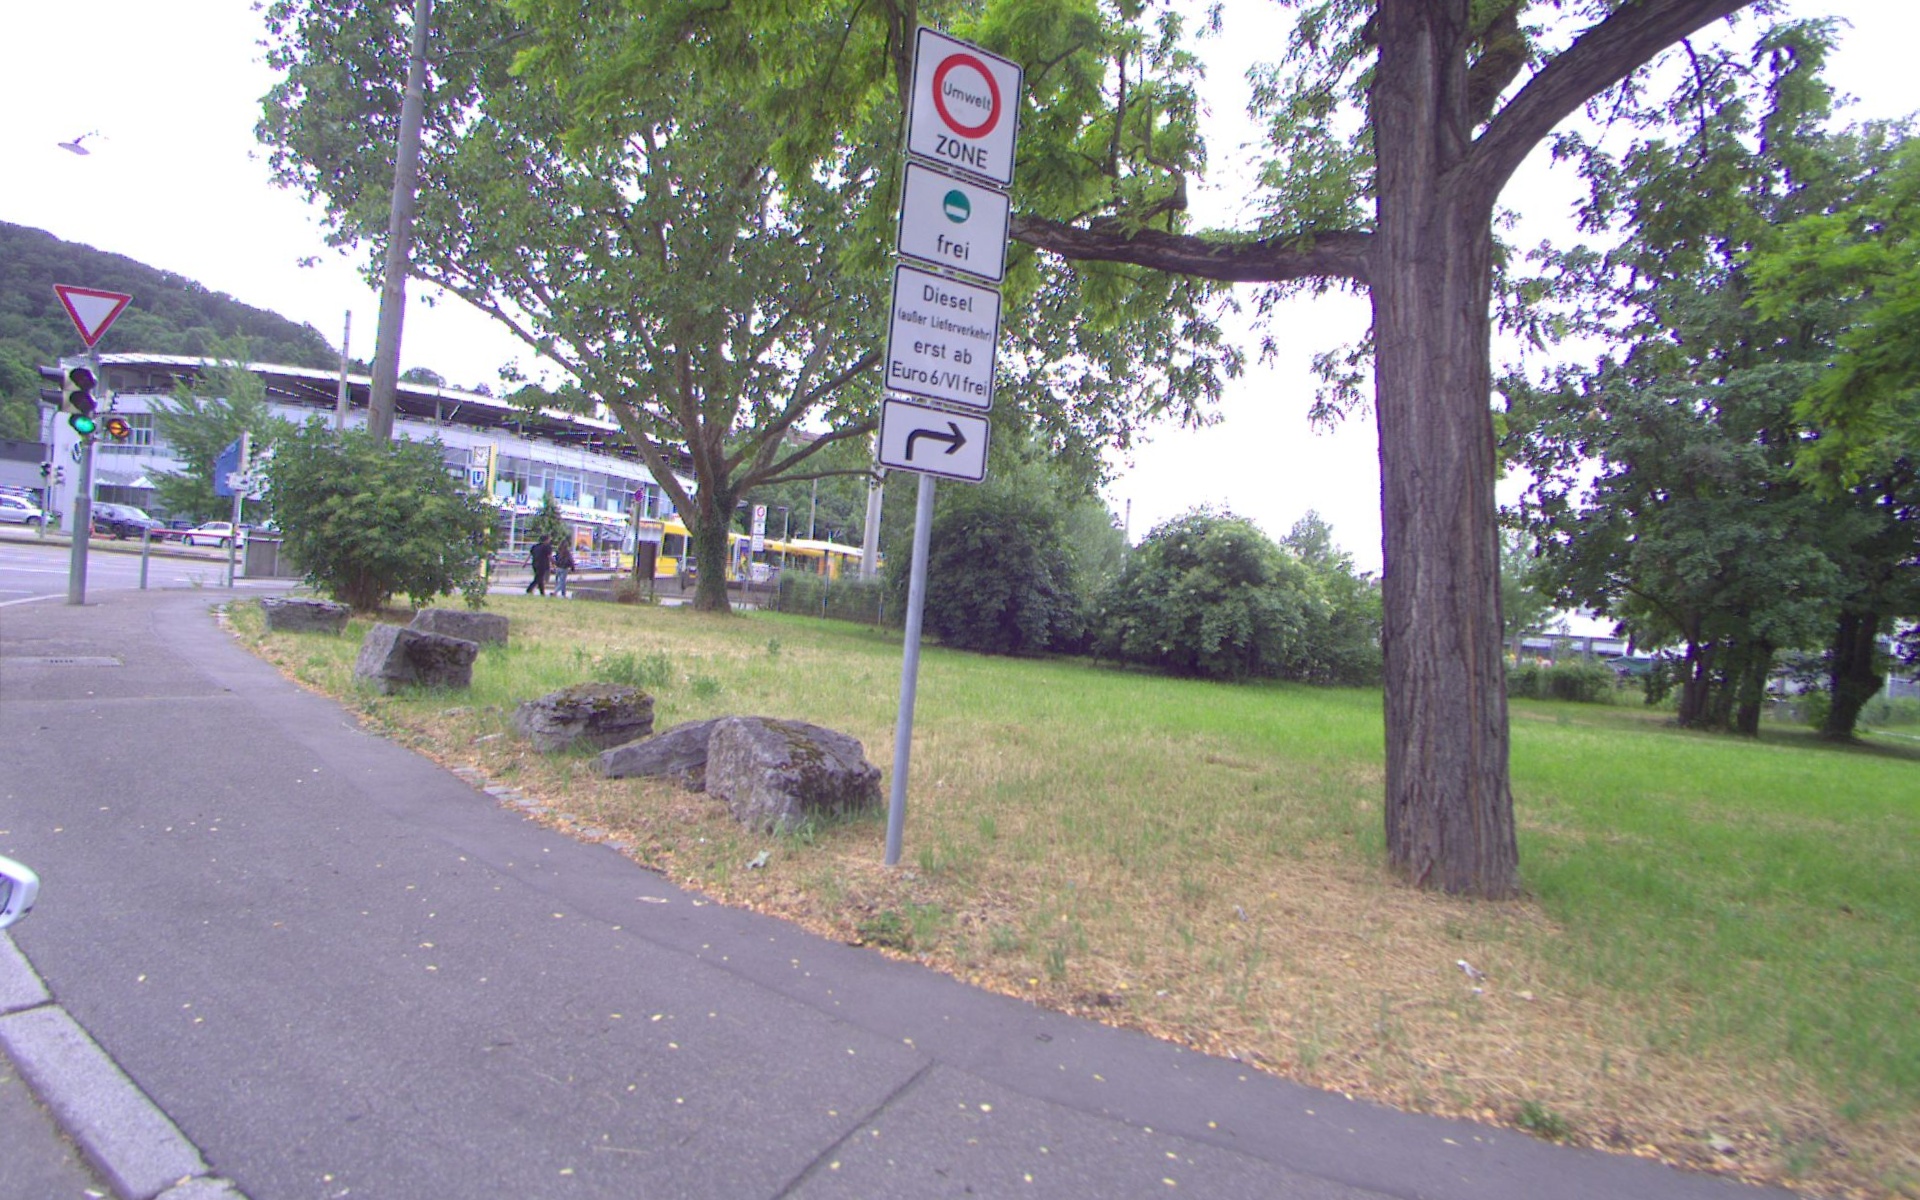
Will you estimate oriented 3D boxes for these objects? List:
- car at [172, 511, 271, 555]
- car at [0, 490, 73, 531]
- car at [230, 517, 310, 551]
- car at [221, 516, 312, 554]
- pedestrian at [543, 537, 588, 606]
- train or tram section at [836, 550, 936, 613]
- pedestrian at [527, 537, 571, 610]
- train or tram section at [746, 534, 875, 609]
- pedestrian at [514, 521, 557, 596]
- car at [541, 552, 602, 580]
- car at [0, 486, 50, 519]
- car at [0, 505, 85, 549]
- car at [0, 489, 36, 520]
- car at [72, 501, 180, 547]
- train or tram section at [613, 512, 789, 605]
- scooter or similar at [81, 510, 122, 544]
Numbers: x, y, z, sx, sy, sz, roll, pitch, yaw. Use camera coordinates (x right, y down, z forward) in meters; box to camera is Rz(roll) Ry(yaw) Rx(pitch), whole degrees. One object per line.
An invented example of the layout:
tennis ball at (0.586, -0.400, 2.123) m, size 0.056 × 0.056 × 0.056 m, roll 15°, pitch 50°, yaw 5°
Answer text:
car at (-38.373, -3.459, 52.321) m, size 3.924 × 1.658 × 2.004 m, roll 6°, pitch -3°, yaw 16°
car at (-53.282, -5.138, 56.804) m, size 1.973 × 1.747 × 4.493 m, roll 4°, pitch -4°, yaw 42°
car at (-45.167, -4.290, 65.890) m, size 3.923 × 1.571 × 1.931 m, roll 6°, pitch -3°, yaw 7°
car at (-37.611, -3.523, 54.583) m, size 3.924 × 1.493 × 1.818 m, roll 6°, pitch -3°, yaw 16°
pedestrian at (-10.347, -0.745, 26.399) m, size 0.593 × 1.708 × 0.672 m, roll 6°, pitch -3°, yaw 21°
train or tram section at (-5.392, -1.244, 76.380) m, size 2.698 × 4.017 × 11.904 m, roll 6°, pitch 1°, yaw 20°
pedestrian at (-11.190, -0.716, 27.397) m, size 0.593 × 1.888 × 0.672 m, roll 6°, pitch -2°, yaw 21°
train or tram section at (-9.372, -1.654, 65.135) m, size 2.698 × 4.017 × 11.904 m, roll 6°, pitch 1°, yaw 20°
pedestrian at (-11.242, -1.094, 26.625) m, size 0.593 × 1.890 × 0.671 m, roll 6°, pitch 0°, yaw 21°
car at (-29.145, -2.542, 75.493) m, size 3.928 × 1.571 × 1.929 m, roll 5°, pitch -3°, yaw 24°
car at (-66.885, -6.992, 70.373) m, size 1.973 × 1.747 × 4.493 m, roll 4°, pitch -4°, yaw 42°
car at (-58.190, -4.603, 63.189) m, size 1.973 × 2.019 × 4.492 m, roll 4°, pitch -4°, yaw 42°
car at (-64.487, -6.566, 66.676) m, size 1.973 × 1.747 × 4.493 m, roll 4°, pitch -4°, yaw 42°
car at (-39.928, -3.626, 48.170) m, size 3.924 × 1.660 × 2.001 m, roll 6°, pitch -1°, yaw 16°
train or tram section at (-13.426, -1.972, 53.875) m, size 2.698 × 4.017 × 11.904 m, roll 6°, pitch 1°, yaw 20°
scooter or similar at (-38.474, -3.257, 45.084) m, size 0.567 × 1.302 × 1.201 m, roll 5°, pitch -3°, yaw 38°
